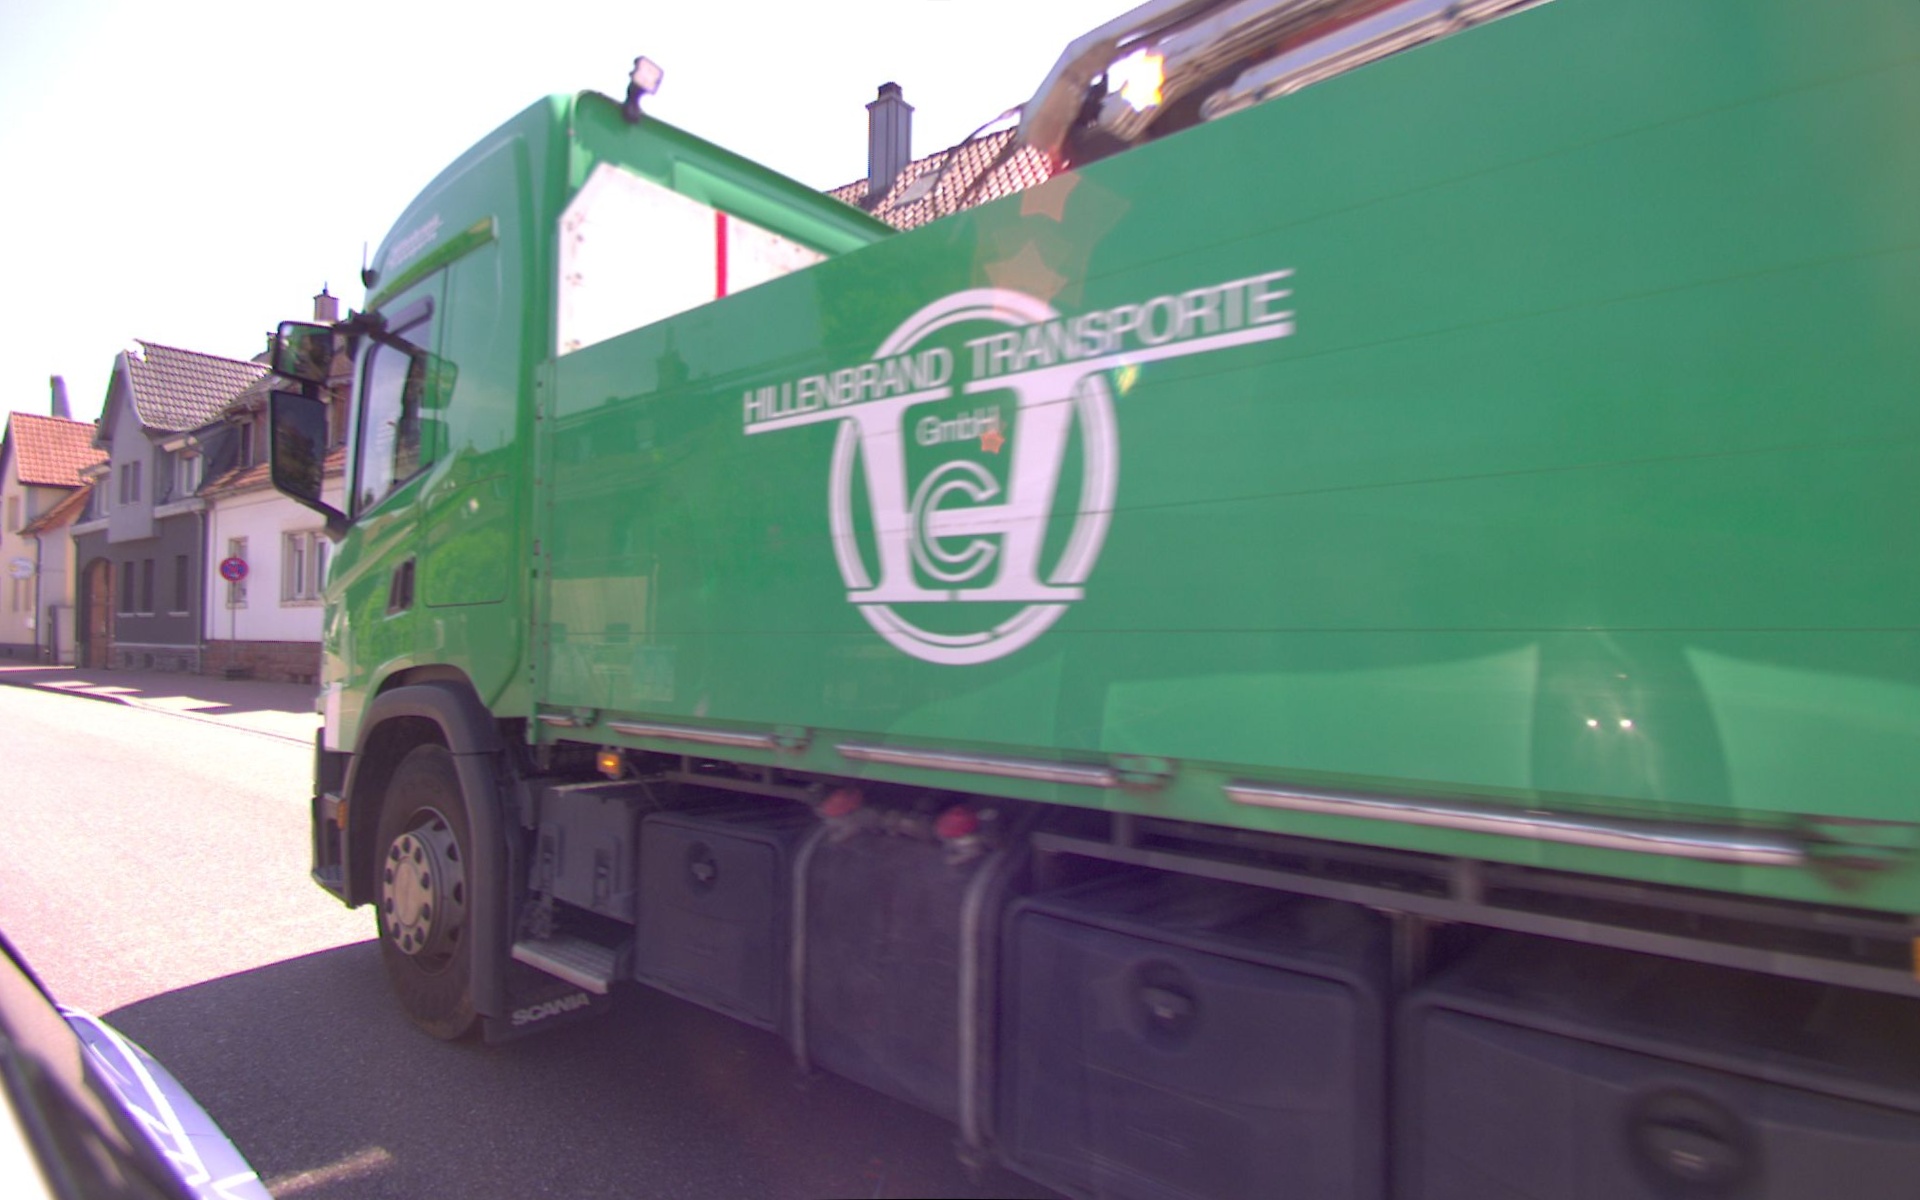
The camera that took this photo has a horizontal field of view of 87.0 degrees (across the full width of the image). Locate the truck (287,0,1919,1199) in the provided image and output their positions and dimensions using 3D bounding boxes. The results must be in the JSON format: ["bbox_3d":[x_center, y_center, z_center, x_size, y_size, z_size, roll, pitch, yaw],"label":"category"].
[{"bbox_3d":[1.966,-0.399,1.823,10.071,3.729,2.540,-1,-3,41],"label":"truck"}]
